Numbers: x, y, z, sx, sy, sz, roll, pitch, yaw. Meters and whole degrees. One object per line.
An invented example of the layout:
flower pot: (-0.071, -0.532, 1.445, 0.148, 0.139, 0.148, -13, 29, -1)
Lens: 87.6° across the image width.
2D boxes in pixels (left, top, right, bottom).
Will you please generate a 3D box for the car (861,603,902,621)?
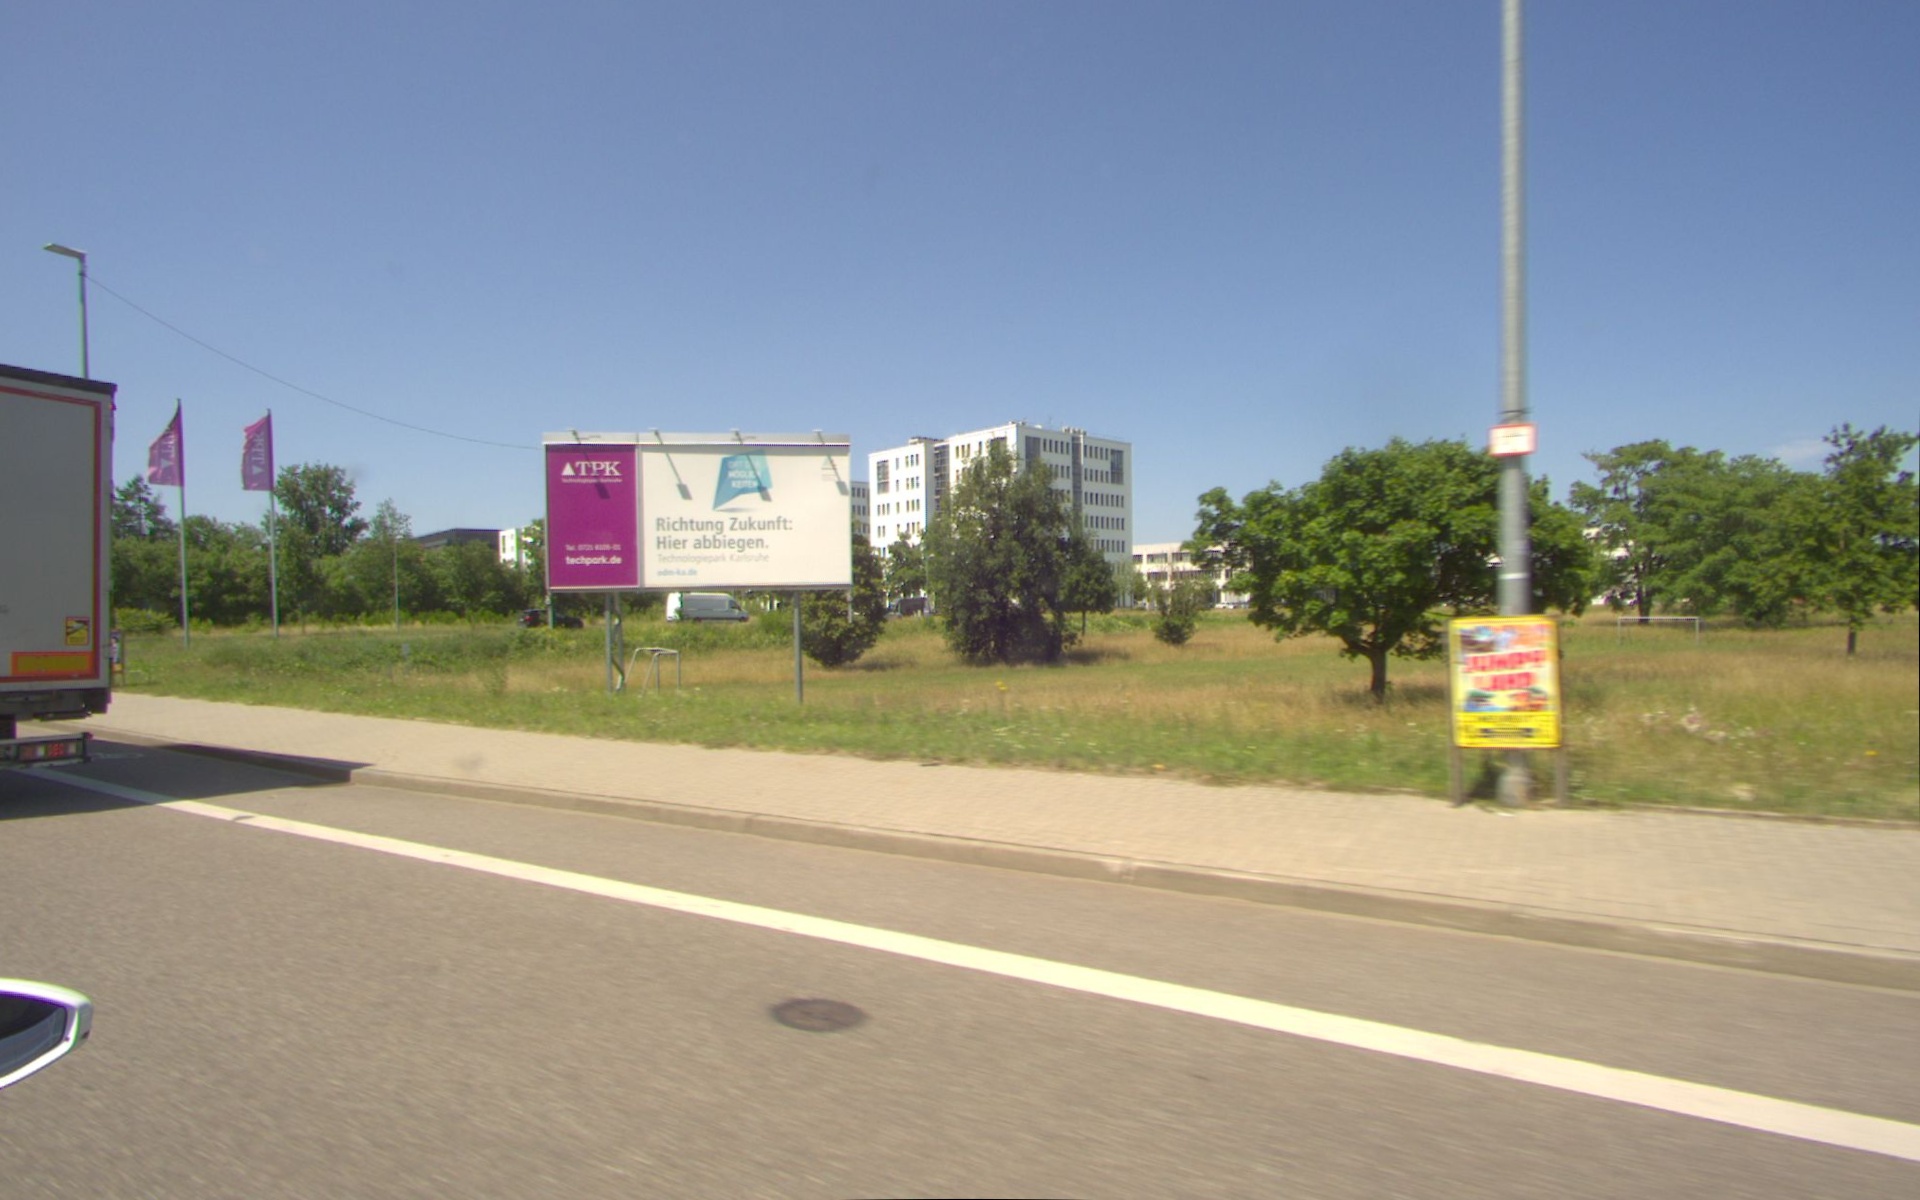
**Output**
car: (-7.229, 1.152, 92.340, 1.688, 1.552, 3.596, -1, -2, 44)

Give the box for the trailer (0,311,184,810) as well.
trailer: (-12.269, -0.285, 10.399, 9.659, 4.122, 3.075, -1, -2, 29)

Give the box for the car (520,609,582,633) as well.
car: (-28.121, 1.468, 68.939, 1.685, 1.552, 3.603, 0, -2, 38)

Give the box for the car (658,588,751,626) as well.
car: (-20.029, 0.607, 78.766, 2.639, 2.838, 6.795, -2, -2, 43)
